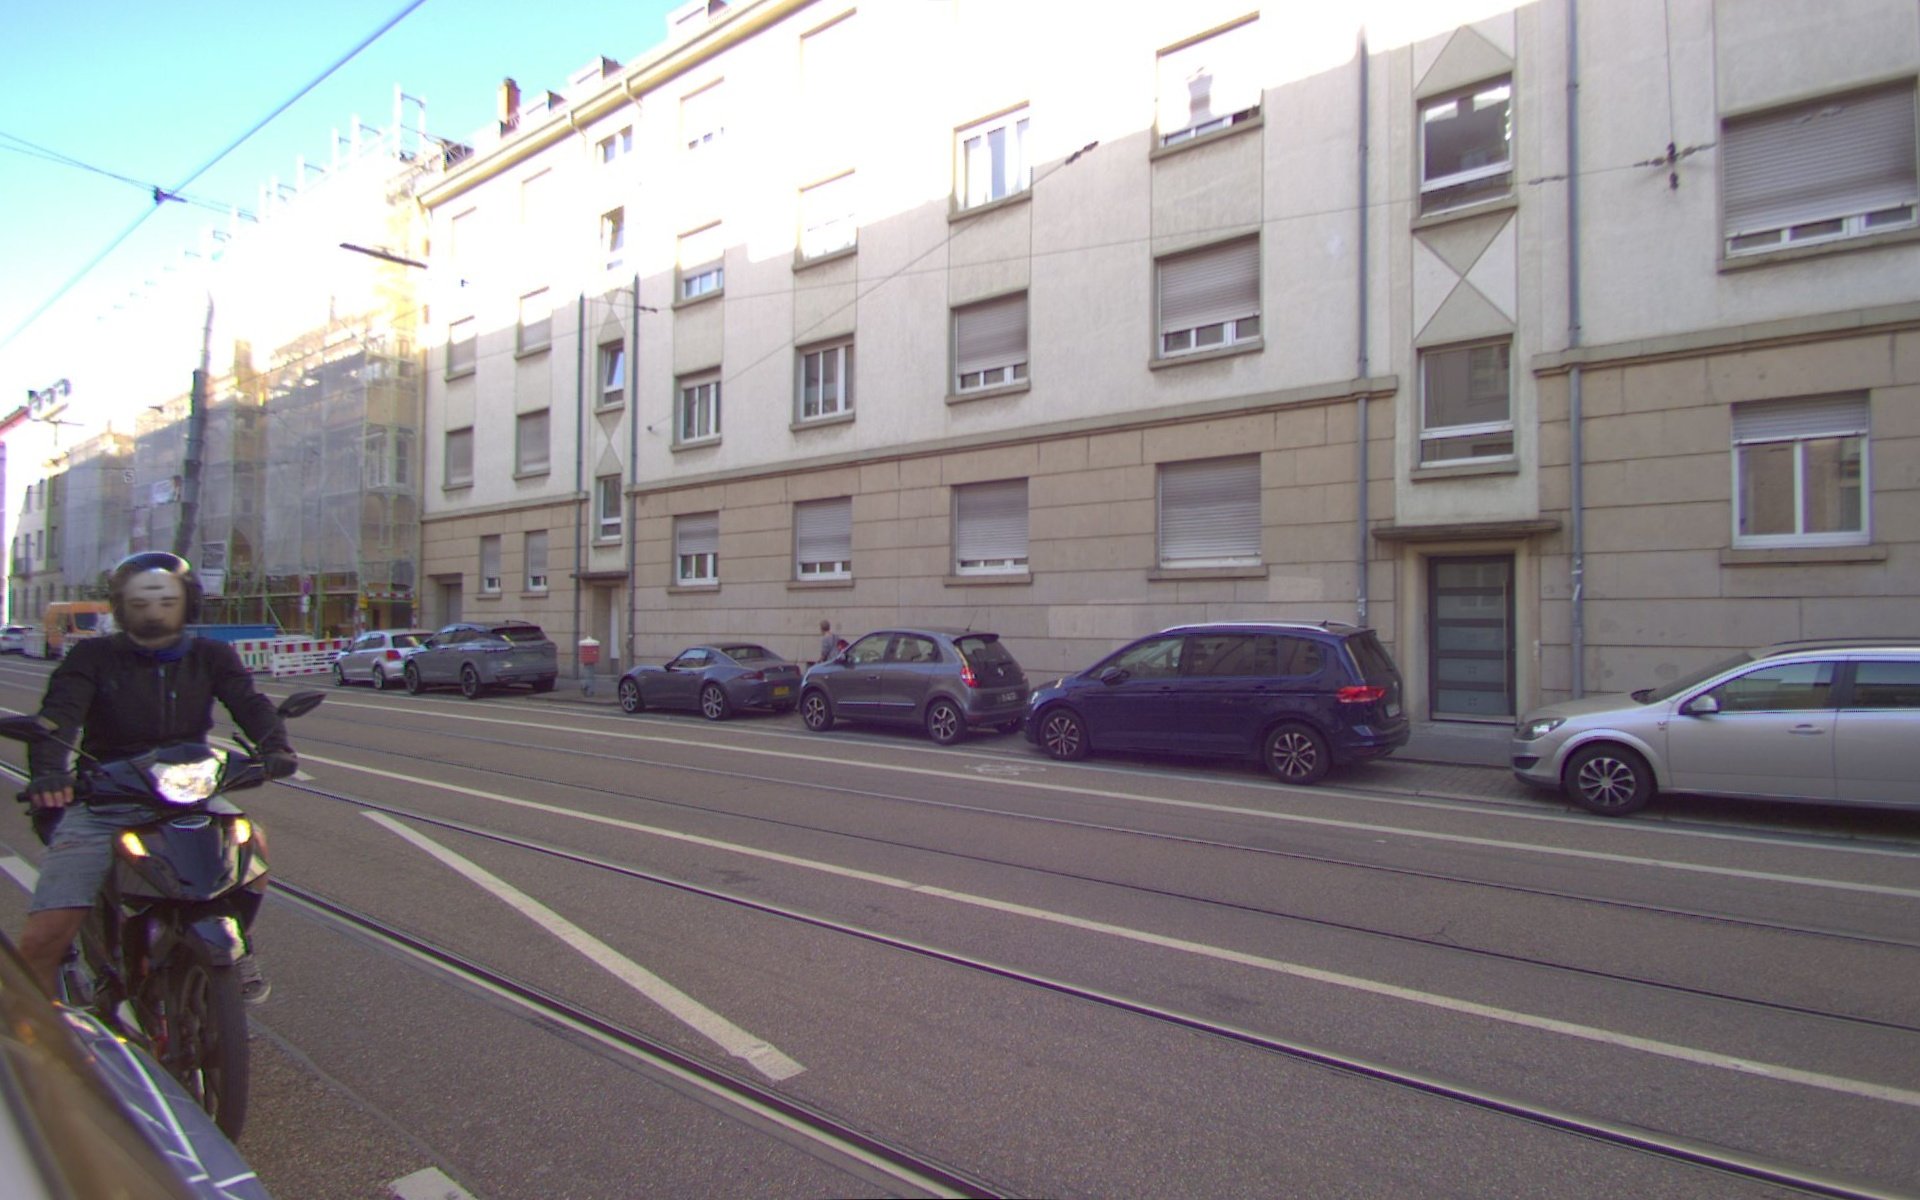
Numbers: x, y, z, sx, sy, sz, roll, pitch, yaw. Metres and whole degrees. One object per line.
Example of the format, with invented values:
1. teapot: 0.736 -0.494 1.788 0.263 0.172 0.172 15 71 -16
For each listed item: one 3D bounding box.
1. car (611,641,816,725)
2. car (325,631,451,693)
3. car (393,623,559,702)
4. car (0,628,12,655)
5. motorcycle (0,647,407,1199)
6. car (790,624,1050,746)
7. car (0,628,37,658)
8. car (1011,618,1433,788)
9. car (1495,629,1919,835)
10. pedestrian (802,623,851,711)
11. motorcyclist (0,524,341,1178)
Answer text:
1. car: -4.322 1.366 17.511 3.681 1.244 1.502 -1 -1 38
2. car: -14.392 1.499 25.408 3.506 1.423 1.524 -1 -1 38
3. car: -10.890 1.334 22.671 4.201 1.611 1.675 -1 -1 38
4. car: -54.587 2.326 56.830 3.964 1.498 1.662 -2 -1 42
5. motorcycle: -2.647 0.819 3.248 2.272 1.302 0.781 -2 -3 41
6. car: -0.636 1.133 14.665 3.535 1.539 1.659 -1 -1 38
7. car: -50.072 2.271 53.353 3.964 1.498 1.662 -2 -1 42
8. car: 2.885 1.033 11.686 4.383 1.611 1.779 -1 -1 38
9. car: 7.118 1.003 8.512 4.383 1.489 1.779 -1 -1 38
10. pedestrian: -2.430 1.205 18.463 0.693 1.553 0.563 -2 -3 39
11. motorcyclist: -2.550 0.657 3.170 0.899 1.668 0.781 -2 -3 41
